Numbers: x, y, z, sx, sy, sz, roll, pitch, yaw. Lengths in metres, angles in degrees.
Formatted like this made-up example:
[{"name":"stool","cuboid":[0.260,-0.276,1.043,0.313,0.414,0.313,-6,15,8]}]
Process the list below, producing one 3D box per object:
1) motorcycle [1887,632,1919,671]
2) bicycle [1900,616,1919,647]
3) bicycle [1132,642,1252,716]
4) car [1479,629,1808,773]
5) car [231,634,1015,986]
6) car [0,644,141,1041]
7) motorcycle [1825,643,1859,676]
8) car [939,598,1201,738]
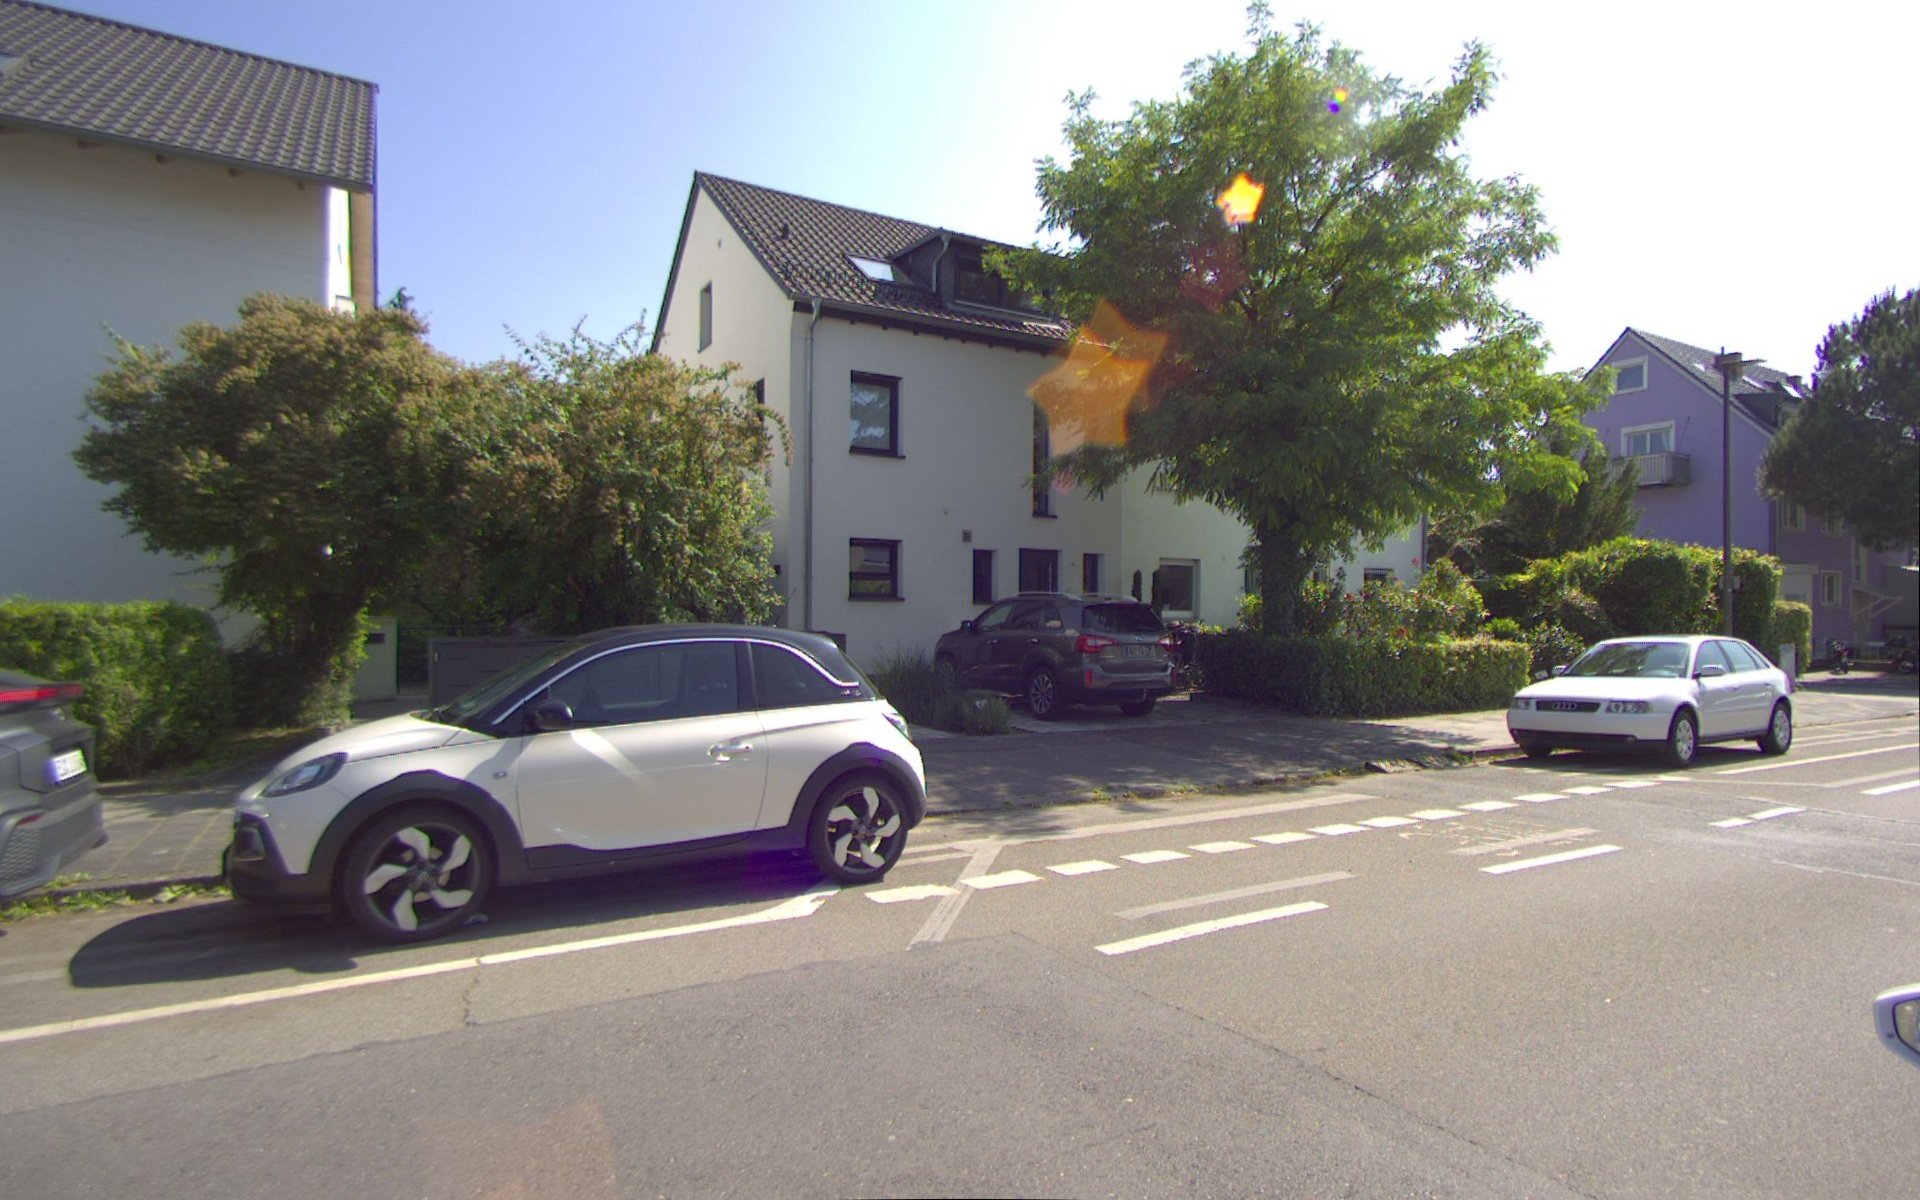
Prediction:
[{"name":"motorcycle","cuboid":[30.790,1.643,31.926,0.634,1.197,1.834,1,-1,-25]},{"name":"bicycle","cuboid":[37.738,1.213,39.331,1.419,1.197,0.538,-1,0,-6]},{"name":"bicycle","cuboid":[4.167,1.390,17.977,2.225,1.224,0.688,1,-1,-30]},{"name":"car","cuboid":[8.314,1.126,12.163,3.955,1.458,1.777,1,-4,-32]},{"name":"car","cuboid":[-1.813,0.984,6.043,3.953,1.458,1.778,1,-4,-30]},{"name":"car","cuboid":[-5.700,0.947,3.577,4.062,1.459,1.777,0,-1,-30]},{"name":"motorcycle","cuboid":[29.094,1.938,33.167,0.632,1.004,2.348,0,-1,36]},{"name":"car","cuboid":[1.479,0.890,14.987,1.976,1.783,3.969,0,-1,-29]}]
